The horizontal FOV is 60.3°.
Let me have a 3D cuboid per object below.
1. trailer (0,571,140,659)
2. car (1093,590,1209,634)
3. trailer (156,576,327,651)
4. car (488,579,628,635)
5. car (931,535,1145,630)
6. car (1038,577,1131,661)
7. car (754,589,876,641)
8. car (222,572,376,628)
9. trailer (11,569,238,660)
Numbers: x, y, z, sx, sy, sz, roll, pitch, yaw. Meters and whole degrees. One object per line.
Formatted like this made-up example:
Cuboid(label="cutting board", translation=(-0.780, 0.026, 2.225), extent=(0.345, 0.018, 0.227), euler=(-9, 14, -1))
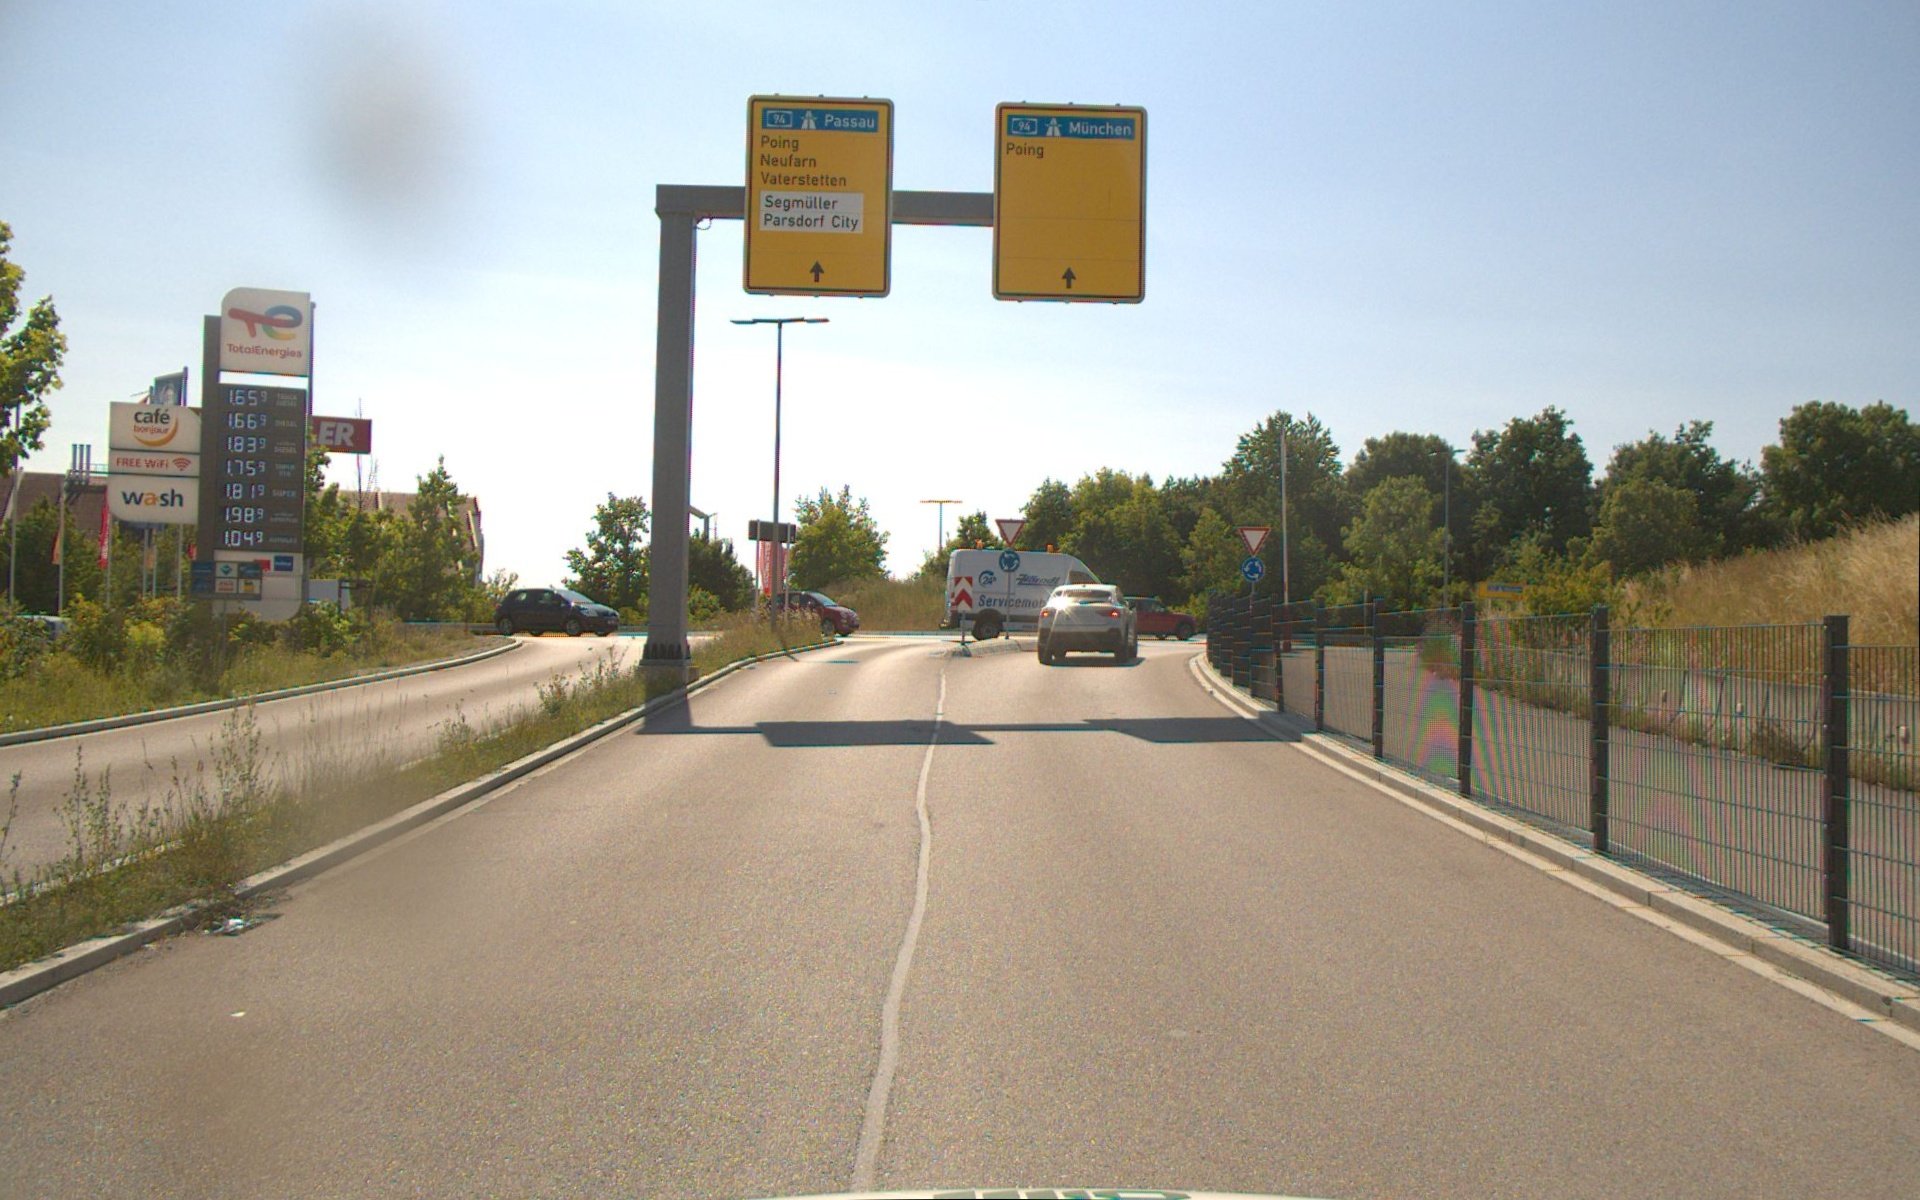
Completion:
Cuboid(label="trailer", translation=(-19.698, 0.313, 35.316), extent=(3.655, 1.803, 1.785), euler=(2, -1, -36))
Cuboid(label="car", translation=(6.731, 0.415, 58.290), extent=(3.749, 1.430, 1.617), euler=(2, -1, -20))
Cuboid(label="trailer", translation=(-17.917, 0.299, 41.313), extent=(3.655, 1.803, 1.785), euler=(0, 1, -36))
Cuboid(label="car", translation=(-12.674, 0.232, 52.278), extent=(3.865, 1.646, 1.819), euler=(2, -1, 5))
Cuboid(label="car", translation=(2.298, -0.506, 49.391), extent=(6.060, 2.599, 2.085), euler=(2, -1, -10))
Cuboid(label="car", translation=(2.579, 0.382, 34.646), extent=(1.802, 1.624, 4.326), euler=(1, 0, 3))
Cuboid(label="car", translation=(-4.925, 0.504, 56.312), extent=(3.645, 1.646, 1.873), euler=(1, -1, 20))
Cuboid(label="car", translation=(-29.138, 0.024, 73.057), extent=(6.169, 2.273, 2.025), euler=(2, -1, -23))
Cuboid(label="trailer", translation=(-16.199, 0.289, 32.114), extent=(3.655, 1.477, 1.687), euler=(5, -3, -36))
